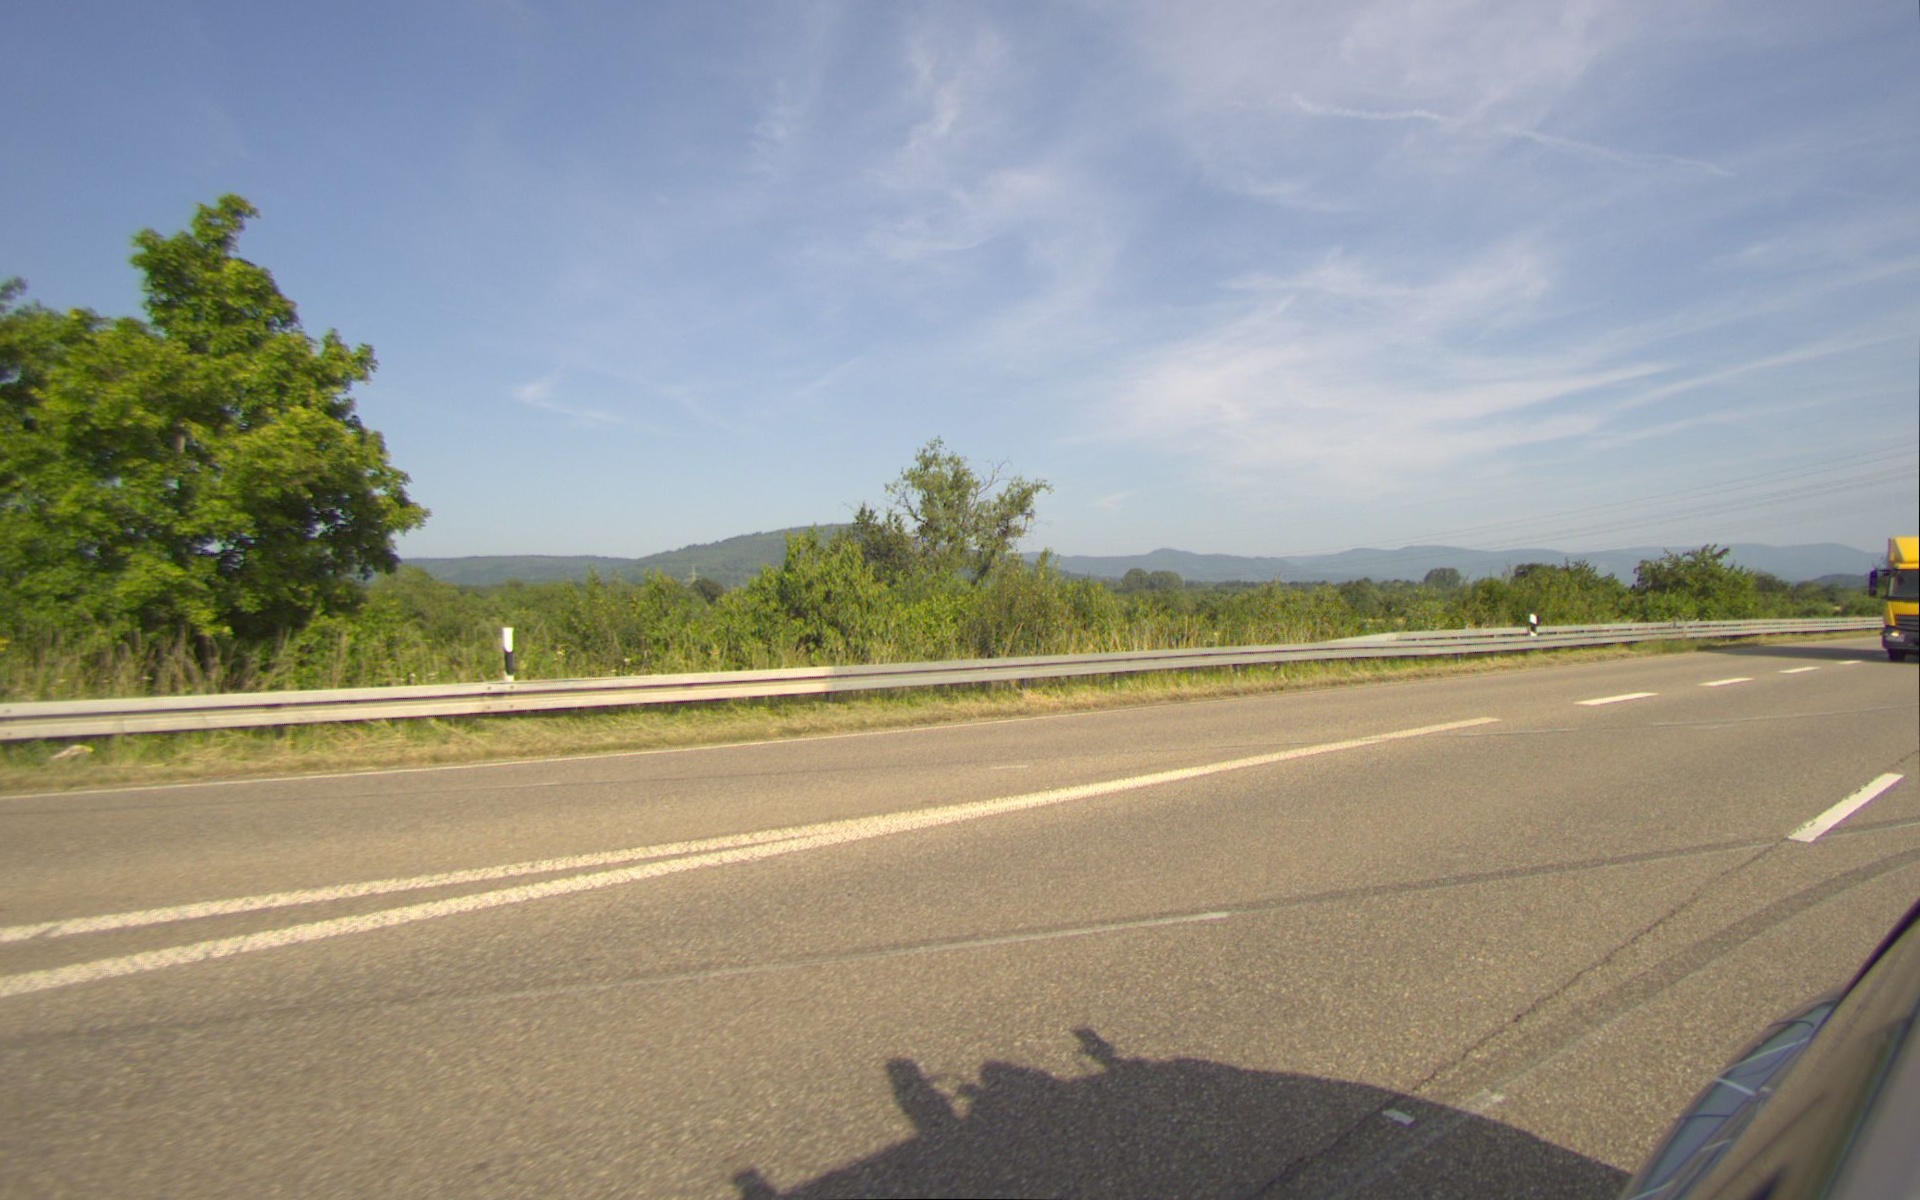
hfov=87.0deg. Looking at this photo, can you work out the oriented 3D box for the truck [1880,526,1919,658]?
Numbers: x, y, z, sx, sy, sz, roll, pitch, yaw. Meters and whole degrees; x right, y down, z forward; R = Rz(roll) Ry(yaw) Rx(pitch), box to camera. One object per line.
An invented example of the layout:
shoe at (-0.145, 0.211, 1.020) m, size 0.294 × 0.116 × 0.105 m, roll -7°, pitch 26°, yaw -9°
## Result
truck at (28.876, -0.182, 28.579) m, size 10.300 × 3.359 × 2.785 m, roll 0°, pitch 0°, yaw -39°
